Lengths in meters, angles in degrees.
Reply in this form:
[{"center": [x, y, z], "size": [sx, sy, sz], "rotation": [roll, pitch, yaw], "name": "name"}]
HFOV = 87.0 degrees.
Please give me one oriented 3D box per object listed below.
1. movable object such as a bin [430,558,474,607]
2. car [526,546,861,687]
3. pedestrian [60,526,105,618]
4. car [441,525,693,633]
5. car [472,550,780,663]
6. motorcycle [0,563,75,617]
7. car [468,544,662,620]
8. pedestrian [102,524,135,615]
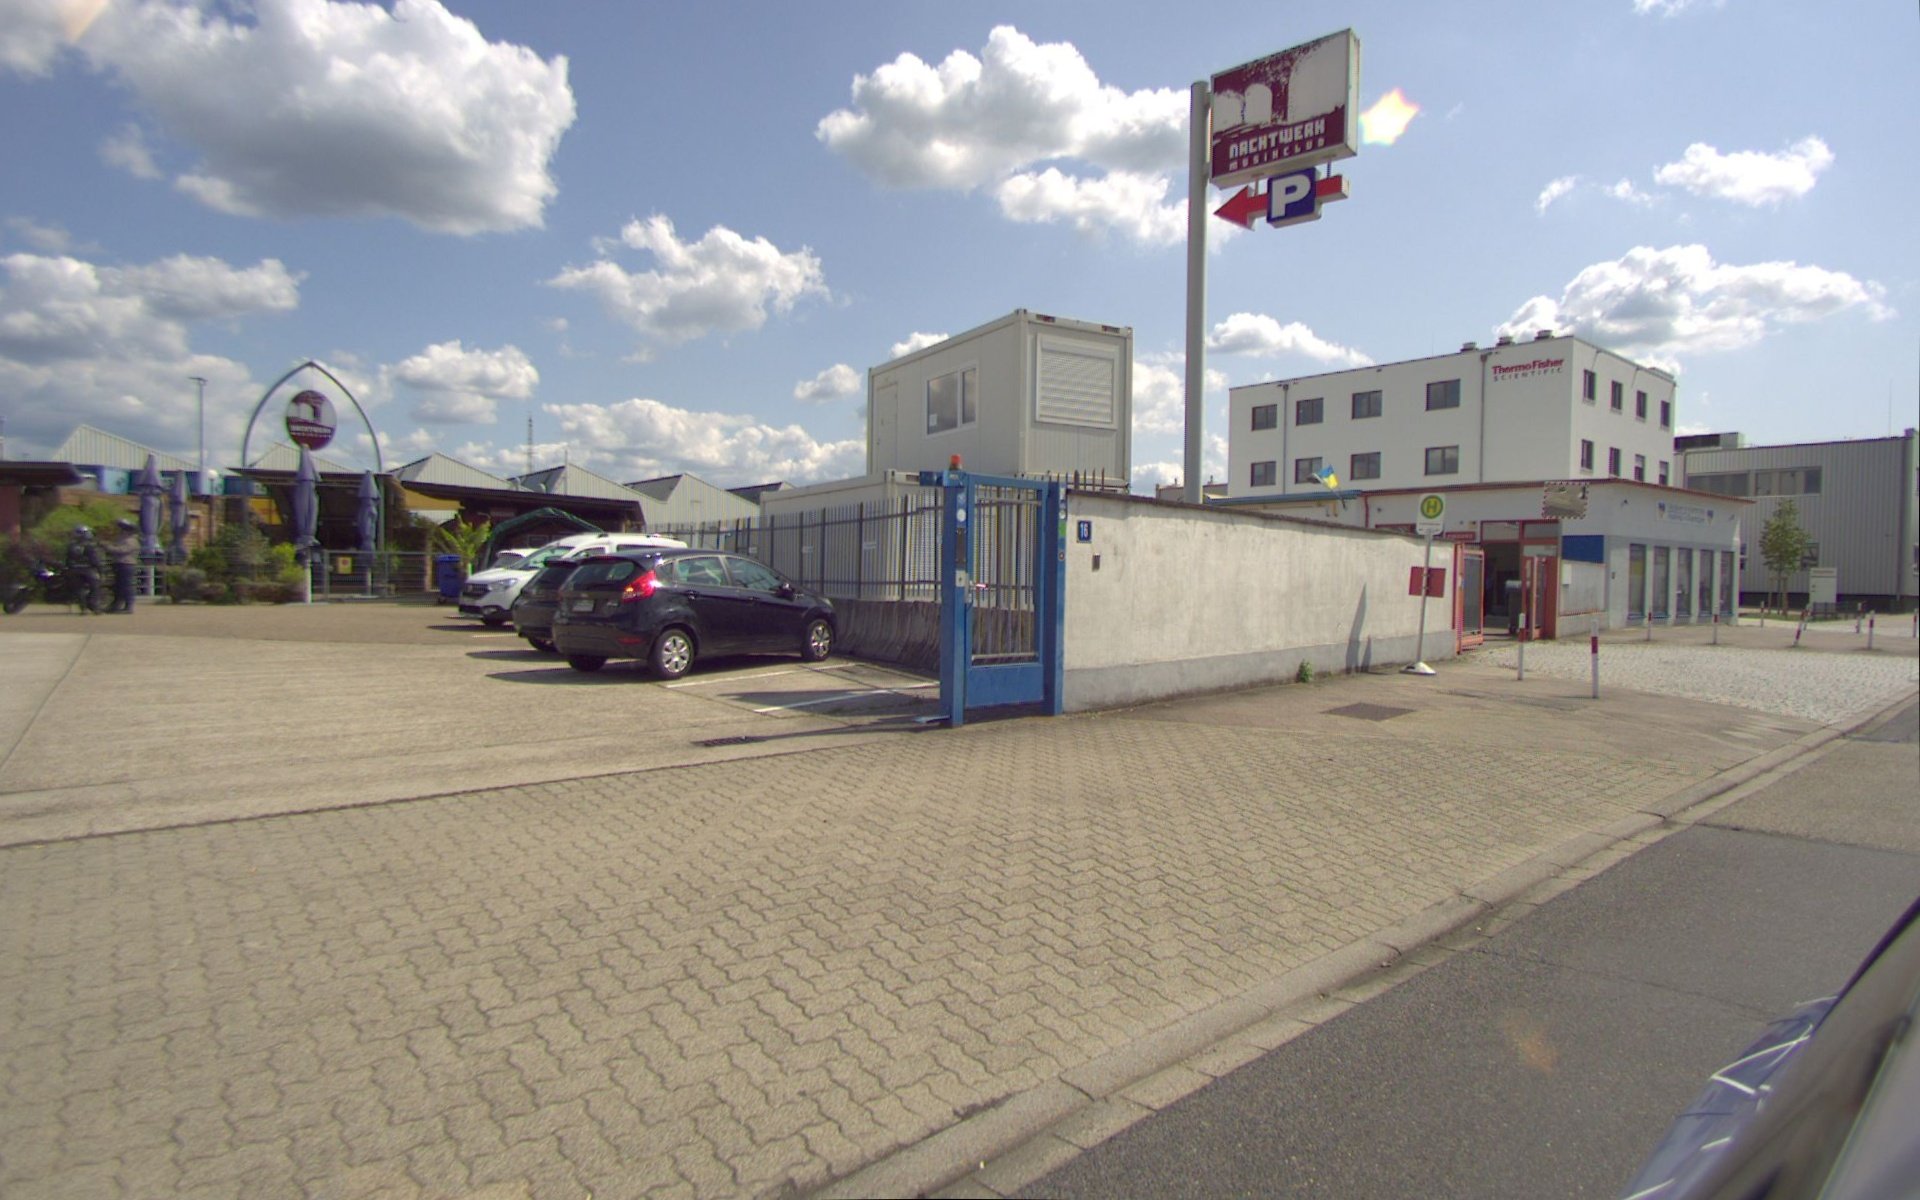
[{"center": [-13.895, -0.489, 27.688], "size": [1.009, 1.309, 0.601], "rotation": [0, 1, -19], "name": "movable object such as a bin"}, {"center": [-3.120, 0.095, 12.497], "size": [1.735, 1.459, 3.785], "rotation": [2, 3, 36], "name": "car"}, {"center": [-15.762, -0.501, 18.190], "size": [0.594, 1.607, 0.416], "rotation": [0, 1, -40], "name": "pedestrian"}, {"center": [-7.370, -0.404, 19.309], "size": [1.685, 1.829, 4.218], "rotation": [2, 2, 39], "name": "car"}, {"center": [-4.677, 0.021, 14.699], "size": [1.940, 1.394, 3.955], "rotation": [2, 2, 32], "name": "car"}, {"center": [-17.029, -0.195, 18.677], "size": [0.455, 0.966, 0.988], "rotation": [2, 2, 35], "name": "motorcycle"}, {"center": [-8.693, -0.428, 22.597], "size": [1.545, 1.540, 3.957], "rotation": [2, 2, 31], "name": "car"}, {"center": [-15.935, -0.572, 19.160], "size": [0.449, 1.694, 0.603], "rotation": [0, 2, -42], "name": "pedestrian"}]
